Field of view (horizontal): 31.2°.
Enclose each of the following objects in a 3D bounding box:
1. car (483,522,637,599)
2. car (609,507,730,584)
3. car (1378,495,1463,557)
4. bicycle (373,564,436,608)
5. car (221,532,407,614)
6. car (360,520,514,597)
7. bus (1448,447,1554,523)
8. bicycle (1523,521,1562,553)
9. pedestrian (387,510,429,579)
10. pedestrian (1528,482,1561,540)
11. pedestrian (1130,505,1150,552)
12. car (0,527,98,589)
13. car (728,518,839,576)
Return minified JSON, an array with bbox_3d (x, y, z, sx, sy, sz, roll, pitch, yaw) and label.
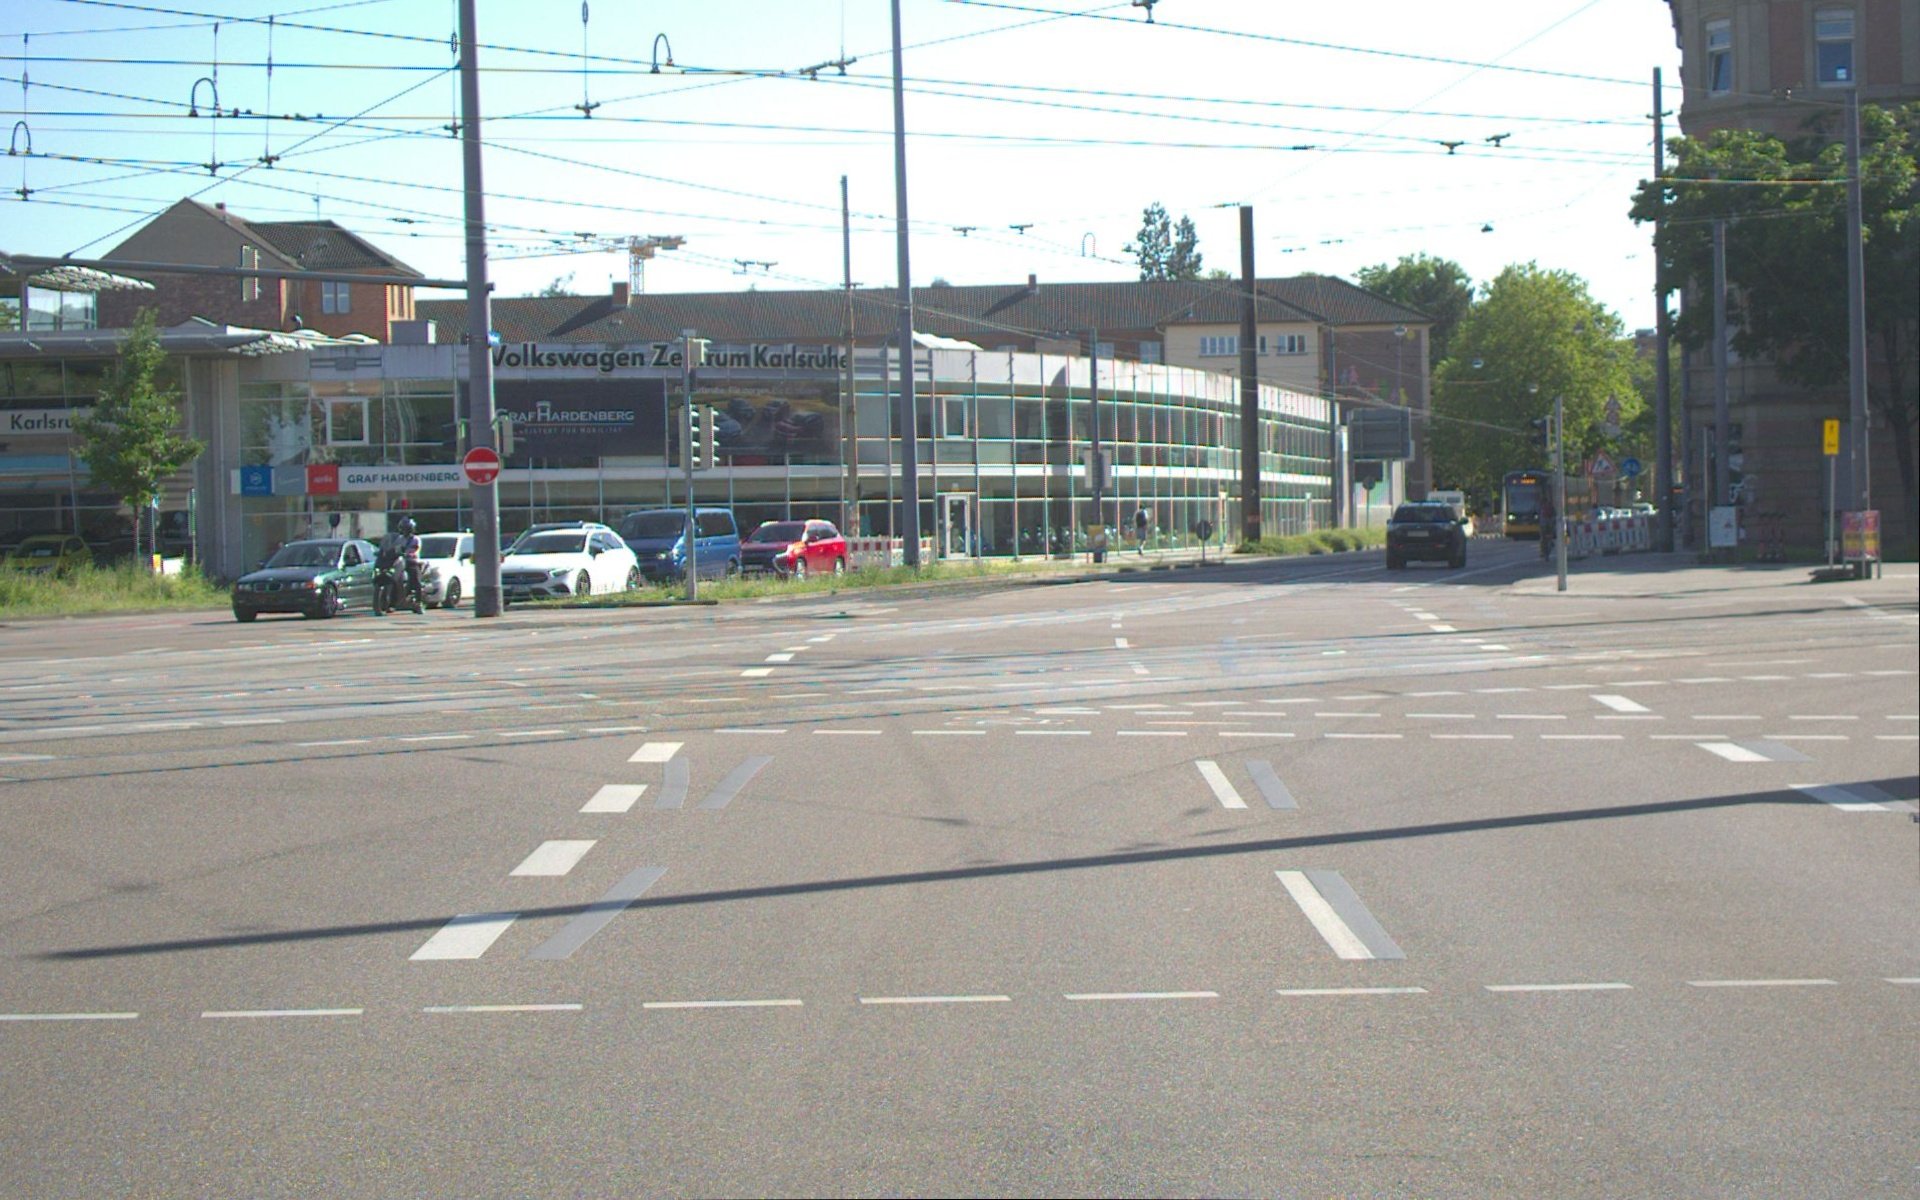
[{"bbox_3d":[-7.525,-0.763,64.947,1.627,1.377,3.735,-1,1,14],"label":"car"},{"bbox_3d":[-6.649,-1.269,78.959,1.627,1.686,3.683,-1,1,14],"label":"car"},{"bbox_3d":[11.762,-1.902,87.604,1.700,1.497,4.262,-1,1,14],"label":"car"},{"bbox_3d":[-9.744,-0.253,60.349,0.423,0.715,1.633,-1,1,17],"label":"bicycle"},{"bbox_3d":[-11.393,-0.497,60.878,1.705,1.349,3.698,-1,1,17],"label":"car"},{"bbox_3d":[-10.124,-0.818,66.828,1.627,1.419,3.683,-1,1,14],"label":"car"},{"bbox_3d":[29.280,-6.057,184.871,3.839,3.595,24.852,1,1,13],"label":"bus"},{"bbox_3d":[16.337,-1.781,96.327,0.743,0.867,1.929,-1,1,20],"label":"bicycle"},{"bbox_3d":[-9.711,-0.979,60.496,0.423,1.200,0.749,-1,1,17],"label":"pedestrian"},{"bbox_3d":[16.456,-2.505,96.767,0.803,1.626,0.717,-1,1,20],"label":"pedestrian"},{"bbox_3d":[6.479,-2.563,123.626,0.543,1.683,0.629,-1,1,19],"label":"pedestrian"},{"bbox_3d":[-26.536,-1.233,99.878,1.966,1.700,4.084,-1,1,-1],"label":"car"},{"bbox_3d":[-4.401,-1.340,86.086,1.627,1.359,3.683,-1,1,16],"label":"car"}]
